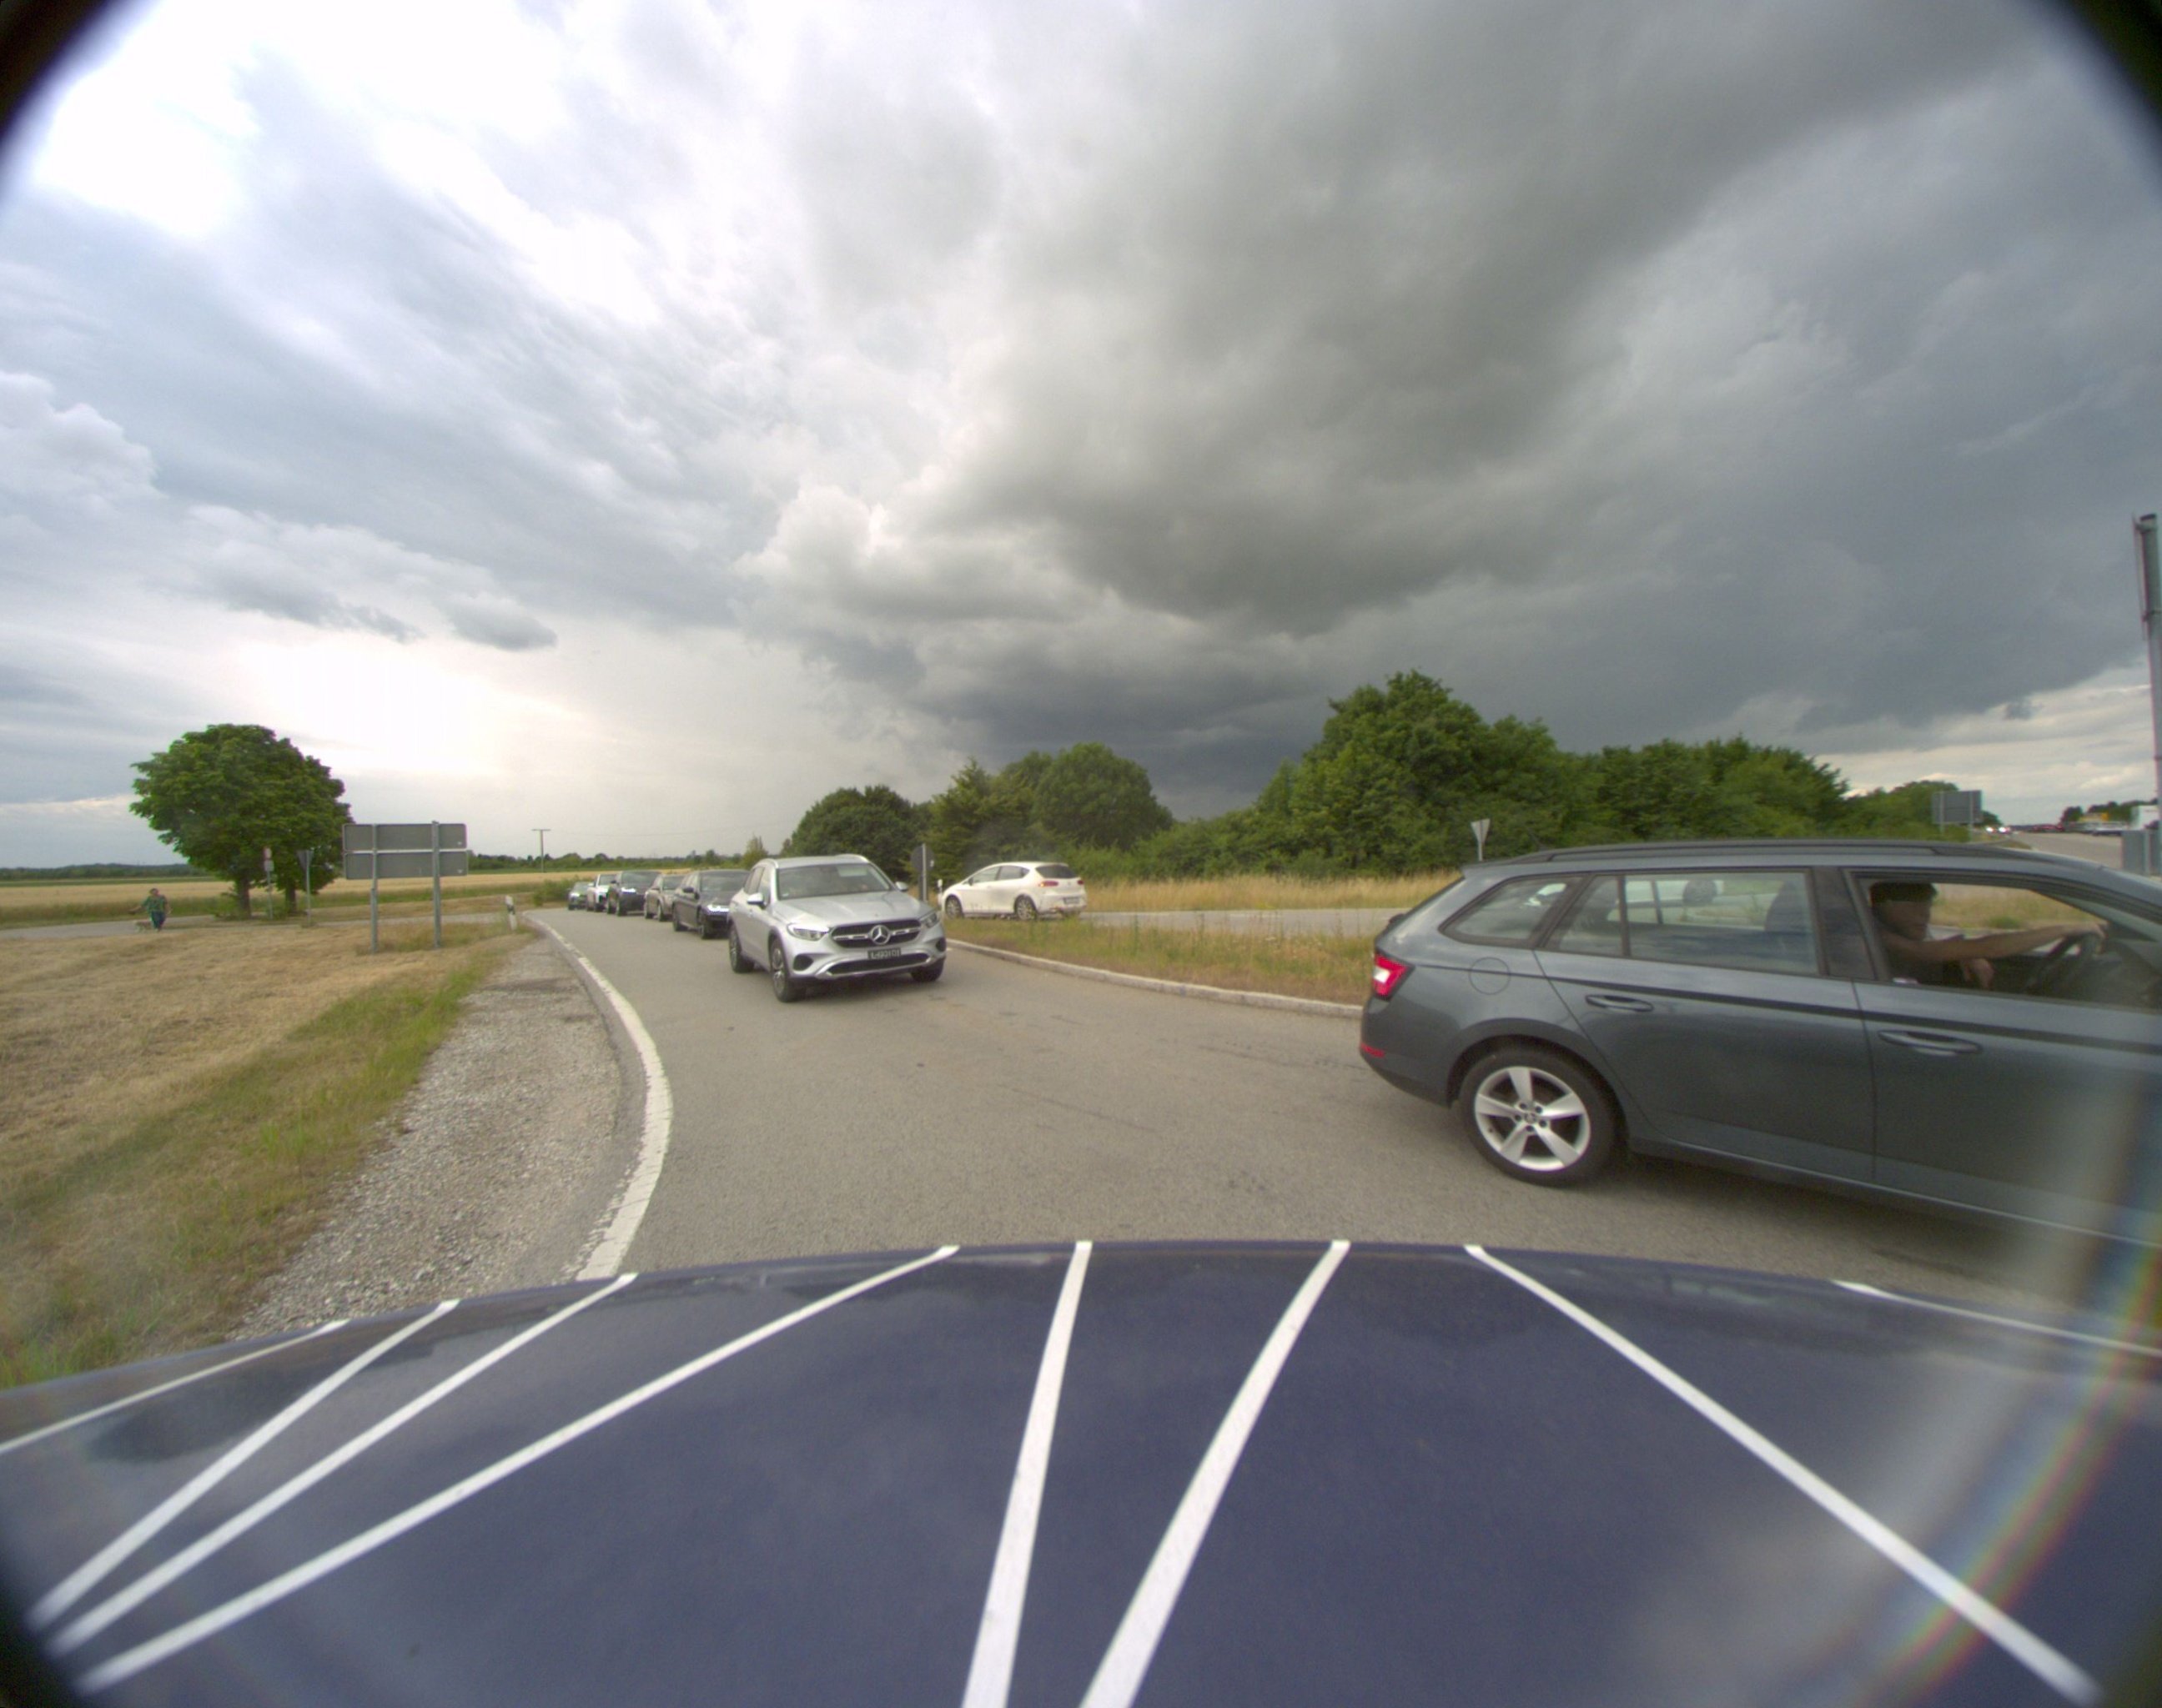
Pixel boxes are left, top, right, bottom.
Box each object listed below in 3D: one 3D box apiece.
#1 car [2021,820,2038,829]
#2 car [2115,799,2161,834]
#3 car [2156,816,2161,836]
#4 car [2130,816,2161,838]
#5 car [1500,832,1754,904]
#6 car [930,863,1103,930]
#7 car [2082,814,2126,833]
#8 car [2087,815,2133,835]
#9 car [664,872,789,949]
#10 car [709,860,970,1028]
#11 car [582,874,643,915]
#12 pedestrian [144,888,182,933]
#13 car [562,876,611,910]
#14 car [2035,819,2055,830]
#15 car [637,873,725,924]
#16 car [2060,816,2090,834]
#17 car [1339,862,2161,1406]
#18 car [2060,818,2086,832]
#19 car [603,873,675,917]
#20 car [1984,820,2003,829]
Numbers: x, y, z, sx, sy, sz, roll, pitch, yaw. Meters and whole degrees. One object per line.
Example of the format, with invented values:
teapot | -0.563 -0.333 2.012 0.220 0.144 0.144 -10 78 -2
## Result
car | 176.149 -5.415 141.089 4.008 1.543 1.792 -2 0 -42
car | 95.772 -3.347 68.484 6.571 3.011 2.334 -1 0 -42
car | 81.188 -2.096 55.975 4.008 1.516 1.843 -1 0 -42
car | 88.175 -2.204 62.448 4.008 1.740 1.853 -2 1 -42
car | 11.972 0.288 16.869 4.389 1.443 1.771 -1 1 -1
car | -1.707 0.977 19.176 4.299 1.400 1.824 1 1 40
car | 108.636 -3.202 80.735 4.885 1.911 2.334 -1 0 -42
car | 104.059 -2.920 76.910 4.885 1.911 2.334 -1 0 -42
car | -8.253 1.176 17.434 1.725 1.346 4.683 -4 2 -35
car | -3.409 0.940 10.071 2.000 1.577 4.383 -4 2 -35
car | -20.650 1.728 33.422 1.725 1.486 4.626 -5 2 -37
pedestrian | -33.803 2.068 27.977 0.942 1.602 0.775 -1 1 35
car | -26.008 1.992 39.900 1.725 1.486 4.202 -5 2 -37
car | 157.212 -4.763 123.930 4.008 1.740 1.853 -2 1 -41
car | -12.593 1.327 23.811 1.725 1.345 4.202 -2 1 -37
car | 118.572 -3.441 90.640 4.008 2.002 1.792 -2 0 -43
car | 3.363 0.796 2.928 4.105 1.439 1.722 -1 2 42
car | 131.512 -3.820 100.786 4.008 1.740 1.853 -2 1 -41
car | -16.584 1.481 28.386 1.725 1.346 4.202 -5 2 -37
car | 157.476 -5.135 131.130 4.007 1.474 1.994 -2 1 -42
